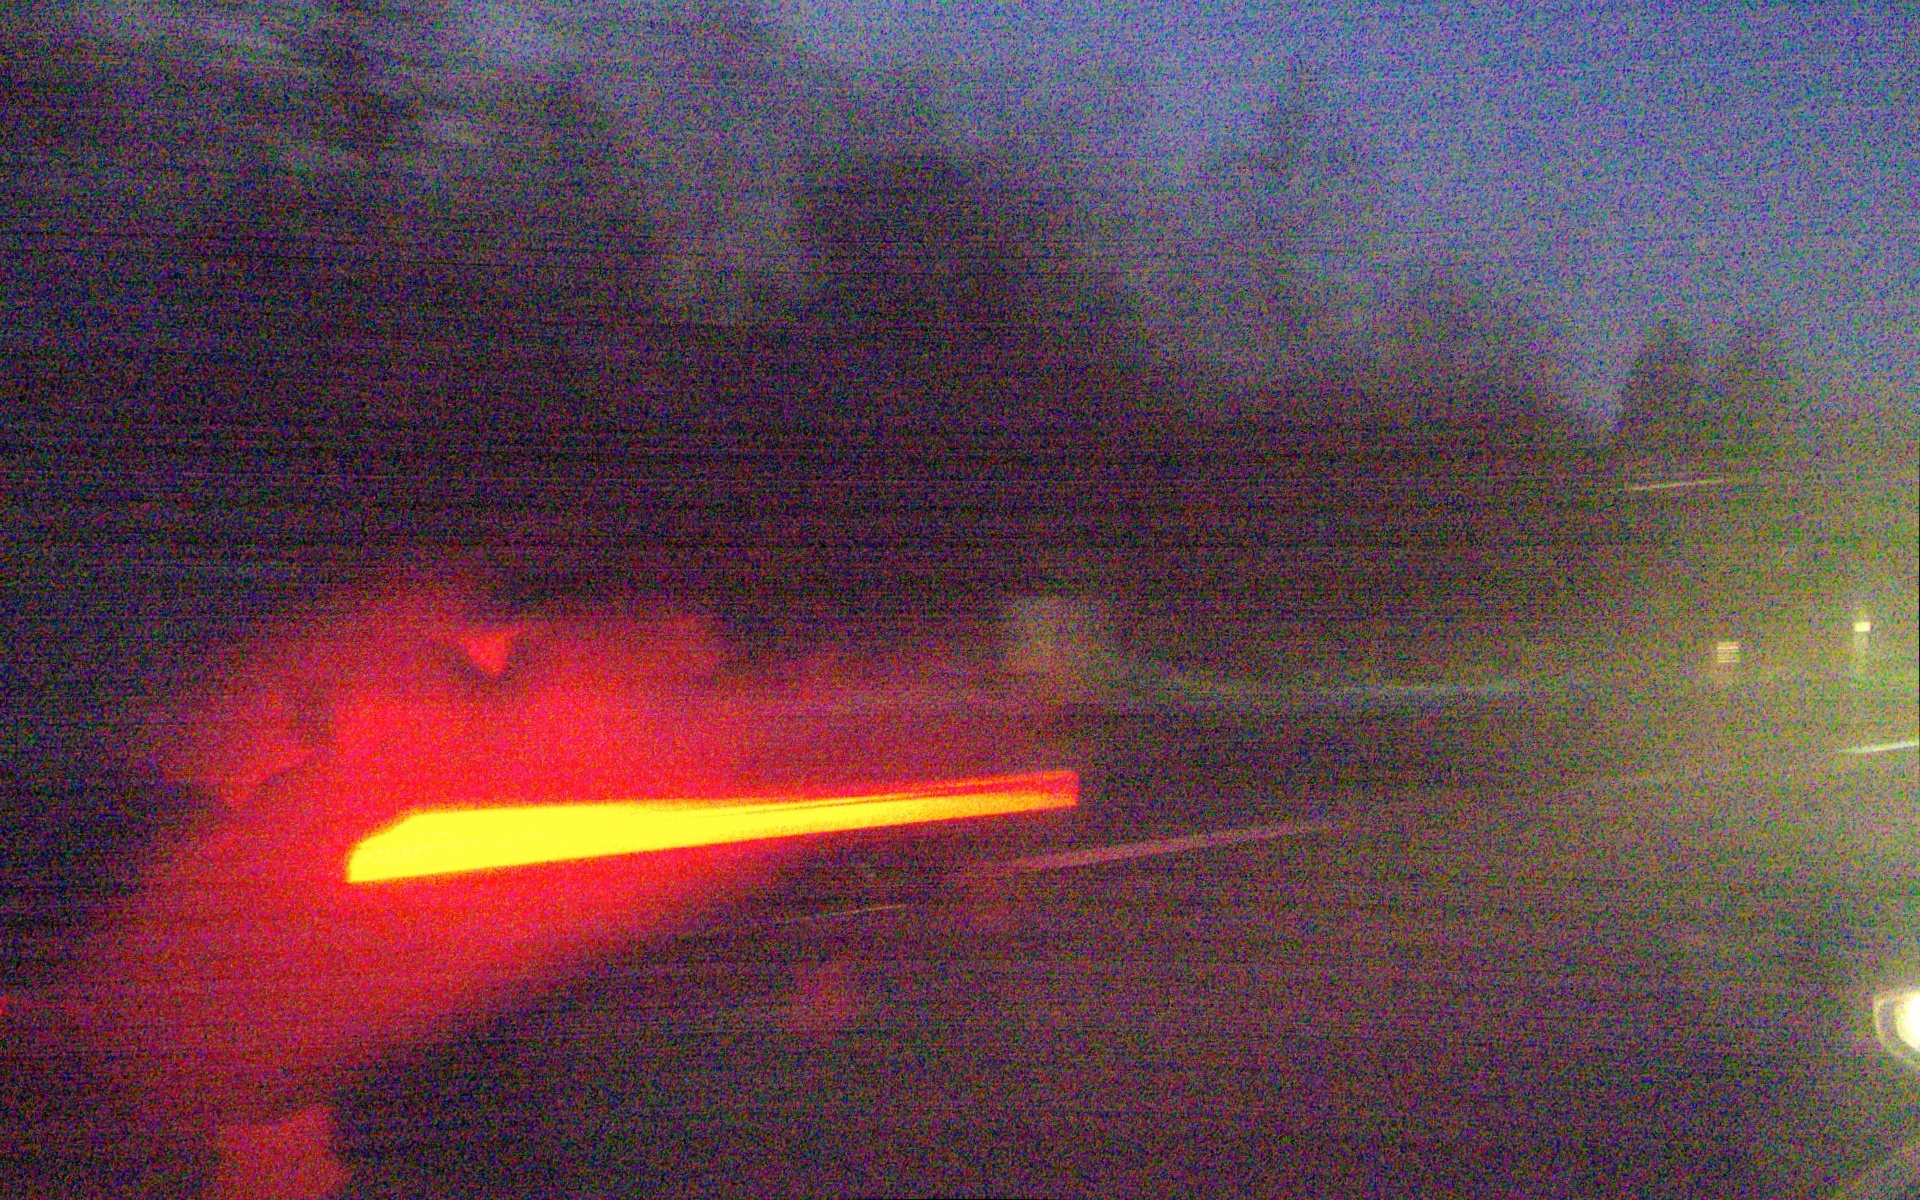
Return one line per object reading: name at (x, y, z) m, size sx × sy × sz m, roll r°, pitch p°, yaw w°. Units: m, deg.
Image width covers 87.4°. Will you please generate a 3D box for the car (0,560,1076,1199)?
car at (-1.988, 0.668, 2.612) m, size 4.228 × 1.493 × 1.983 m, roll 2°, pitch 0°, yaw -32°
